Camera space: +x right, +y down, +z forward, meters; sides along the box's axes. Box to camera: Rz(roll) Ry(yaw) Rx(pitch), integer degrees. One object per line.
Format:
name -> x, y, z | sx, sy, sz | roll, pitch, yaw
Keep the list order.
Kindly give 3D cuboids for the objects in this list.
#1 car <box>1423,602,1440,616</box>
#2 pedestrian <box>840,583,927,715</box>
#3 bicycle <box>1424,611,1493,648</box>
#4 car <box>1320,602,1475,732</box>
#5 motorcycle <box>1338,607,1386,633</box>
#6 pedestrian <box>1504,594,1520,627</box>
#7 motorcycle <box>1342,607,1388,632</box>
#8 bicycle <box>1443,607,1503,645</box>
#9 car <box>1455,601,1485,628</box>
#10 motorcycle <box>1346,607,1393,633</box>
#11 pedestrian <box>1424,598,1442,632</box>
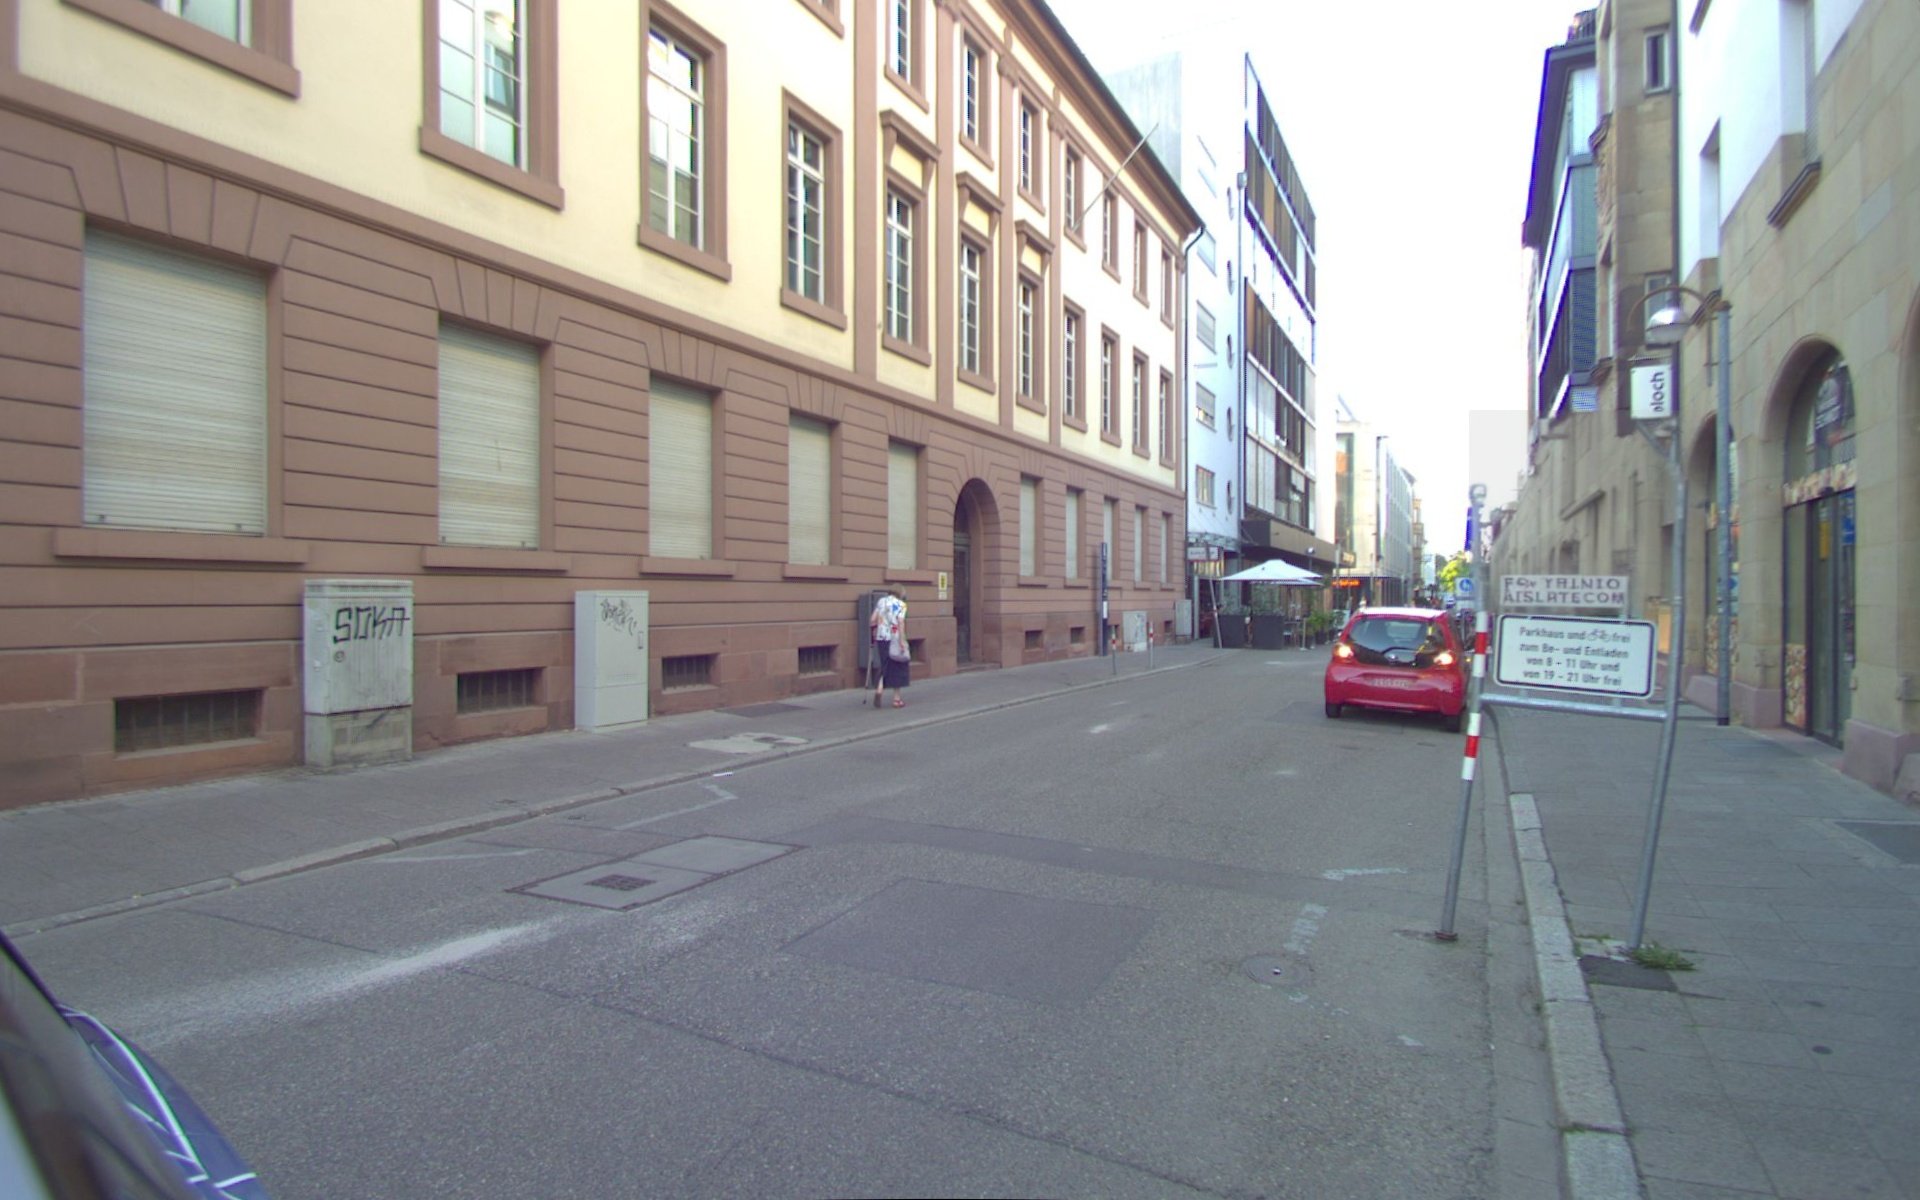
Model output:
car -> 47.112, 0.886, 101.026 | 1.420, 1.310, 3.530 | -2, -1, 27
pedestrian -> -1.013, 0.627, 13.537 | 0.808, 1.684, 0.922 | 0, -1, 26
bicycle -> 16.127, 0.967, 32.756 | 1.946, 1.139, 0.614 | -2, -1, 29
car -> 5.962, 0.790, 13.615 | 1.631, 1.452, 3.126 | 2, 1, 28
motorcycle -> 20.248, 1.013, 51.010 | 2.186, 1.292, 0.645 | 0, 0, 30
pedestrian -> 27.900, 0.521, 51.150 | 0.668, 1.684, 0.756 | 0, -1, 29
motorcycle -> 21.364, 1.033, 53.421 | 2.186, 1.292, 0.645 | 0, 0, 30
bicycle -> 15.777, 0.815, 31.110 | 1.601, 1.127, 0.614 | -2, -1, 29
car -> 28.426, 0.819, 56.427 | 1.420, 1.428, 3.859 | -2, -1, 27
motorcycle -> 20.931, 1.016, 51.714 | 2.186, 1.292, 0.645 | 0, 0, 30
pedestrian -> 23.623, 0.734, 50.532 | 0.808, 1.684, 0.922 | 0, -1, 26
